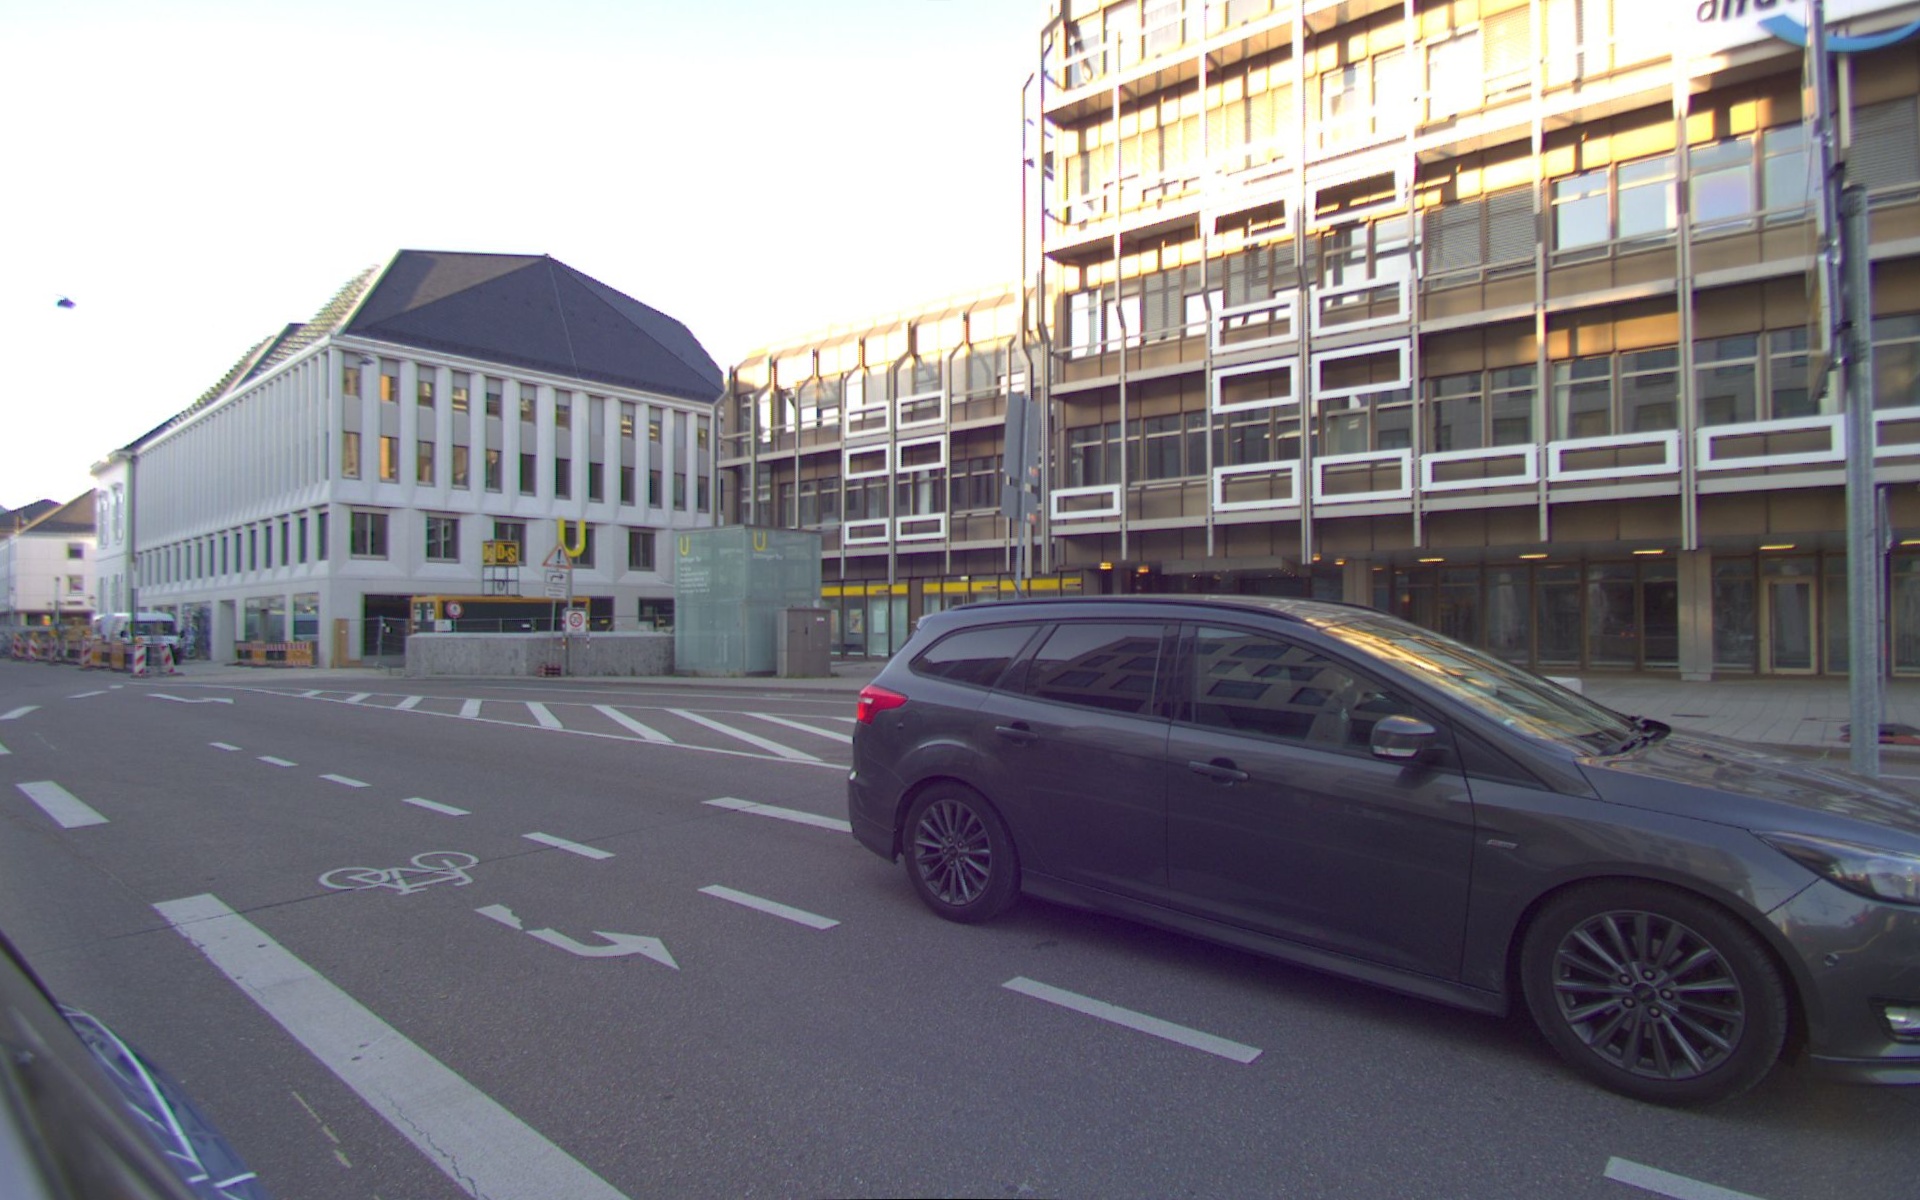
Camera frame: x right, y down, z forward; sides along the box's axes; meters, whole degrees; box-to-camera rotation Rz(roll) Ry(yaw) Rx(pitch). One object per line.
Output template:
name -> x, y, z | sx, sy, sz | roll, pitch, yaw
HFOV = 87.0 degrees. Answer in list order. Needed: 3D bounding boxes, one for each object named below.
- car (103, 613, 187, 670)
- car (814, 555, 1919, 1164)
car -> -38.838, 1.957, 48.166 | 6.047, 2.575, 2.114 | -2, -3, 41
car -> 1.500, 0.666, 4.302 | 4.377, 1.473, 1.739 | -2, -1, 41
